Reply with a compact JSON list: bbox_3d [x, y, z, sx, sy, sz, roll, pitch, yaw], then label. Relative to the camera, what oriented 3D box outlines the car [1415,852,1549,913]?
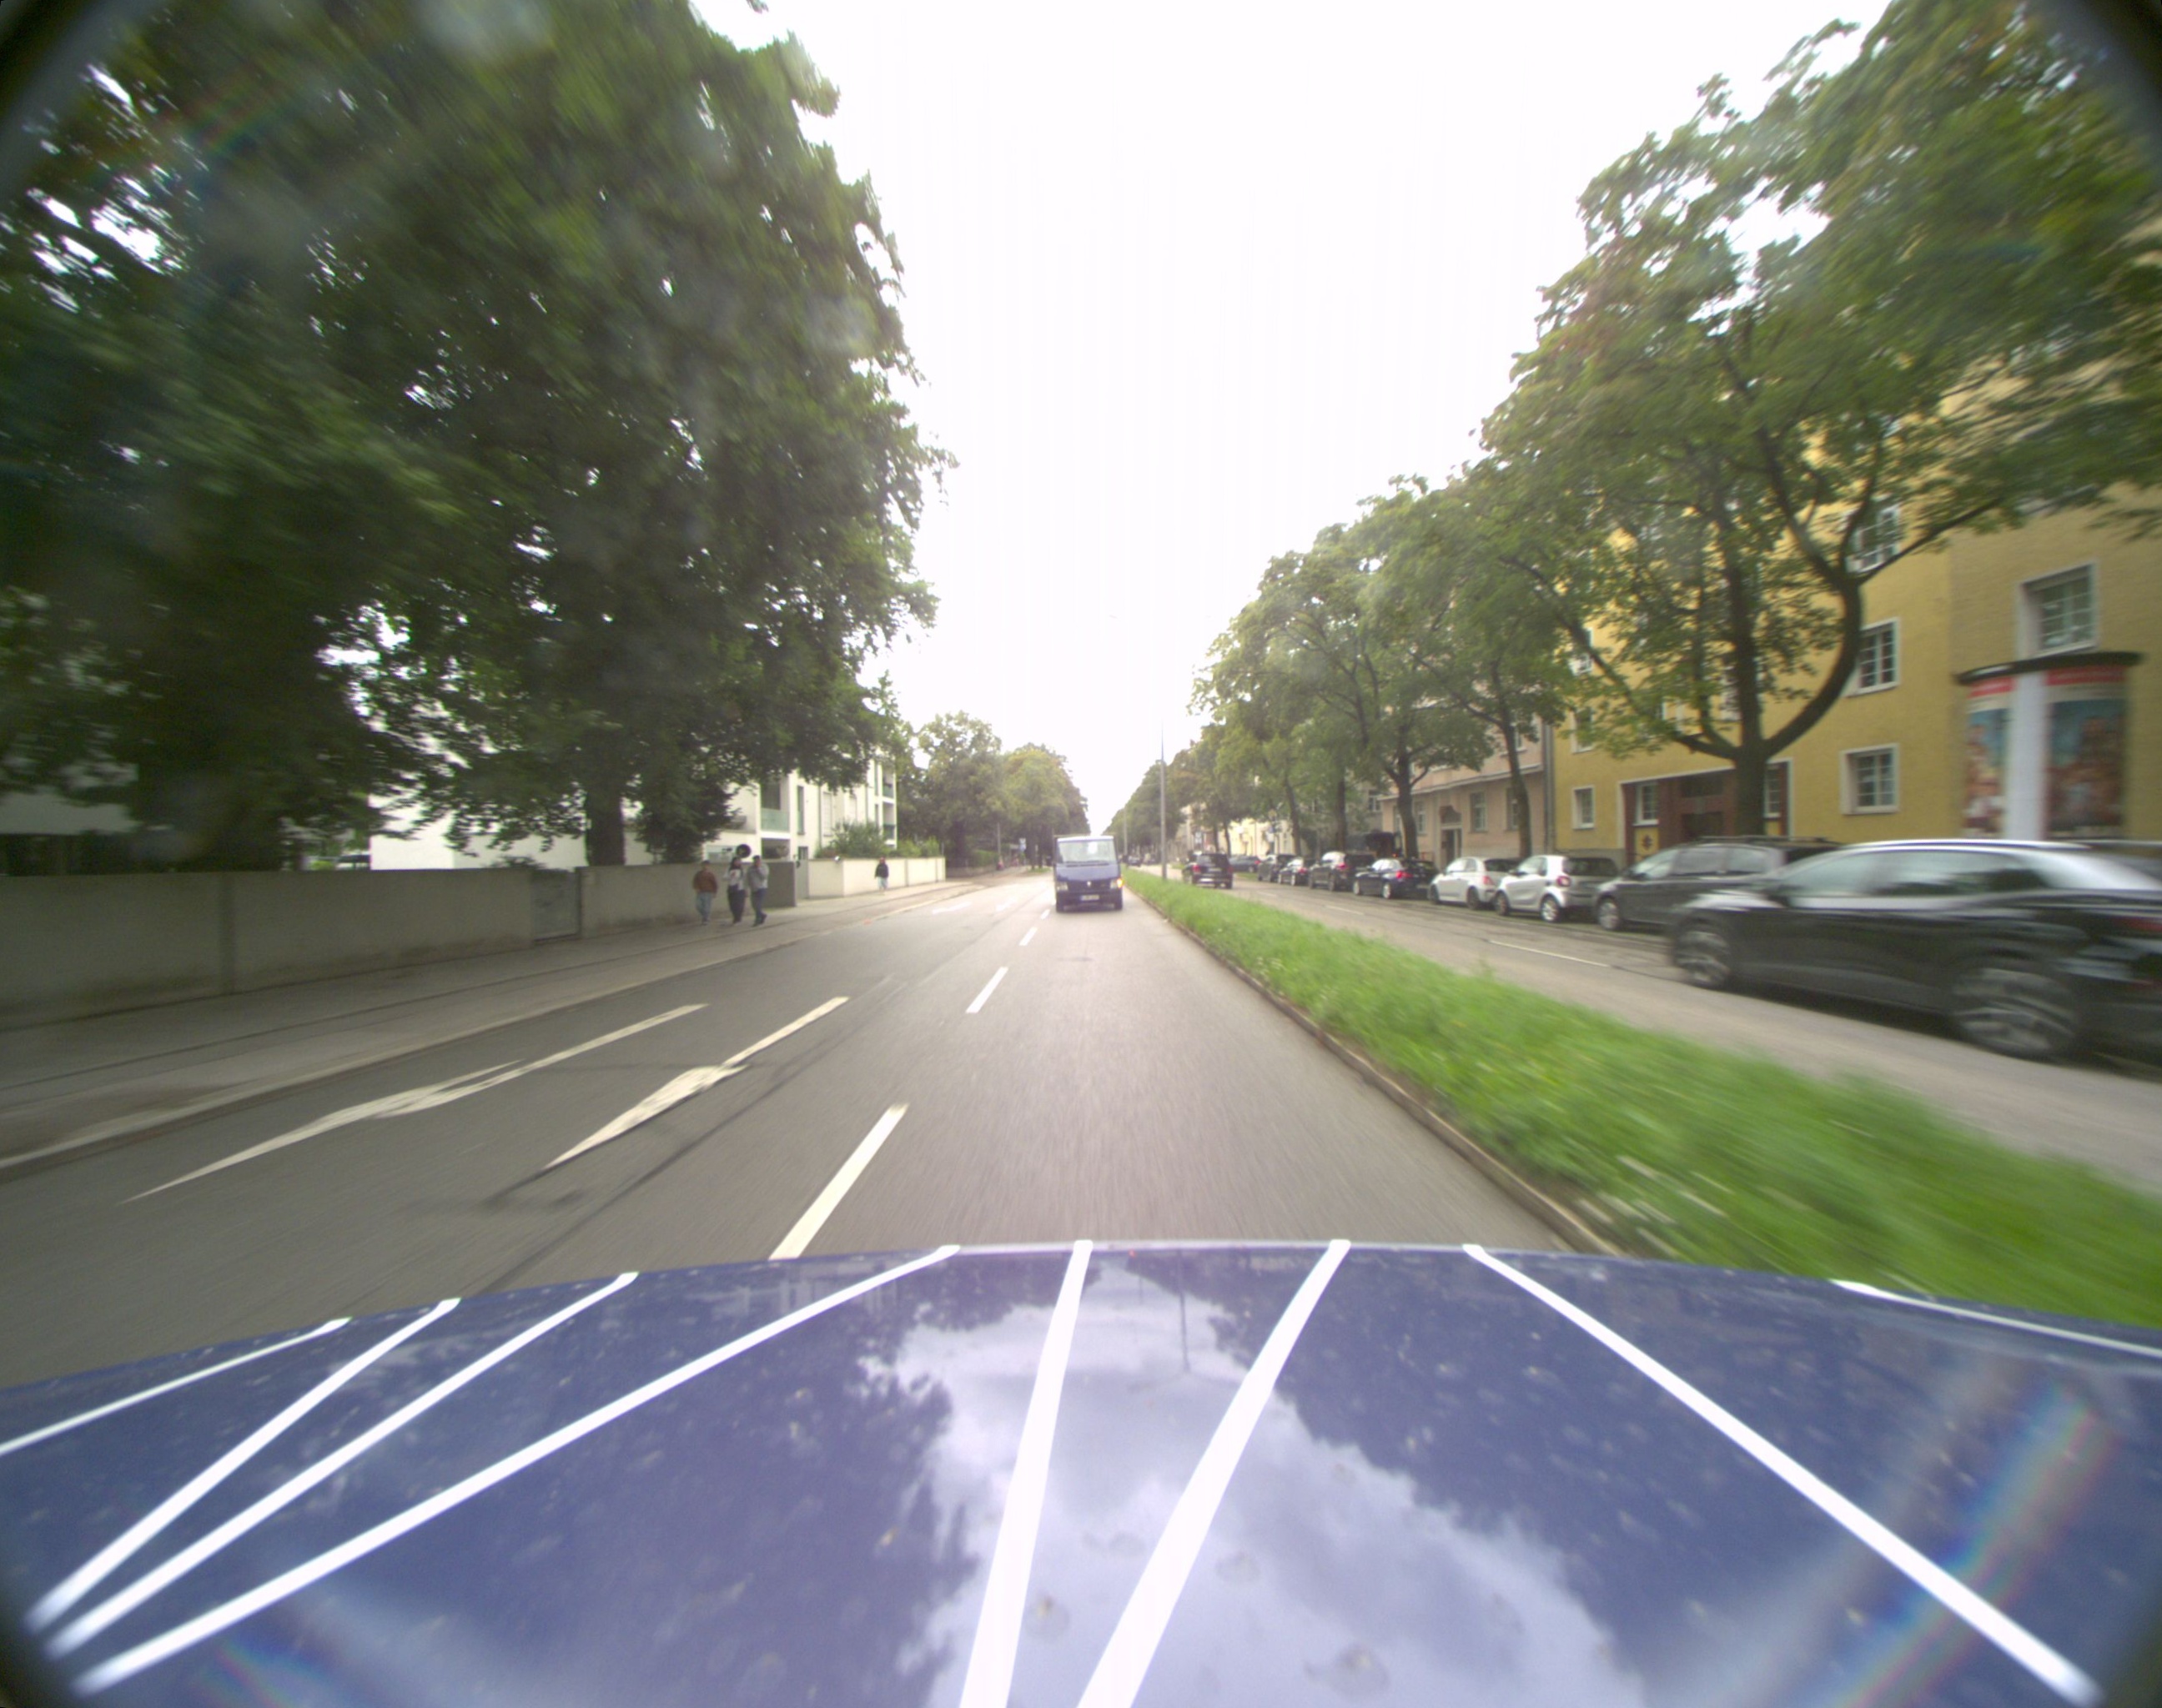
[{"bbox_3d":[11.317,0.738,21.770,1.731,1.552,4.057,-1,0,1],"label":"car"}]

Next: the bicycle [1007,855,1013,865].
[{"bbox_3d":[-8.569,0.711,91.716,0.490,1.092,1.631,-1,0,-9],"label":"bicycle"}]

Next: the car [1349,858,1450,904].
[{"bbox_3d":[10.933,0.863,26.443,1.731,1.398,4.363,-1,0,1],"label":"car"}]

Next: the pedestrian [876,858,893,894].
[{"bbox_3d":[-8.785,0.957,33.958,0.529,1.572,0.729,1,1,0],"label":"pedestrian"}]

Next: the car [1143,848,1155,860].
[{"bbox_3d":[12.006,-0.043,134.785,1.790,2.002,4.000,-1,0,1],"label":"car"}]

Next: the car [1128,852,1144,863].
[{"bbox_3d":[7.234,0.441,100.235,1.815,1.498,4.323,1,0,1],"label":"car"}]

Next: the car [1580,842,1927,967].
[{"bbox_3d":[11.035,0.707,13.081,1.815,1.718,4.767,-1,0,1],"label":"car"}]

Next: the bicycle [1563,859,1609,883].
[{"bbox_3d":[19.829,0.642,29.894,0.543,0.894,1.931,-1,0,1],"label":"bicycle"}]

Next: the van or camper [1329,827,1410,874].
[{"bbox_3d":[17.317,-0.191,46.056,2.351,2.564,6.851,-1,0,1],"label":"van or camper"}]

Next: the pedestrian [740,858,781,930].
[{"bbox_3d":[-7.818,0.955,18.568,0.668,1.712,0.729,1,1,0],"label":"pedestrian"}]

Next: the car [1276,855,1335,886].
[{"bbox_3d":[11.238,0.788,38.281,1.696,1.446,4.492,-1,0,1],"label":"car"}]

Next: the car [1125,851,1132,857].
[{"bbox_3d":[13.692,-0.023,219.743,1.872,1.827,4.000,-1,0,1],"label":"car"}]

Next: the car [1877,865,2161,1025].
[{"bbox_3d":[10.857,0.866,7.362,1.731,1.394,4.404,-1,0,1],"label":"car"}]

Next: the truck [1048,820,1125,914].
[{"bbox_3d":[0.203,0.335,22.935,1.998,2.475,5.151,-1,0,1],"label":"truck"}]

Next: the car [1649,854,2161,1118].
[{"bbox_3d":[7.489,0.811,6.480,1.880,1.575,4.620,1,0,1],"label":"car"}]

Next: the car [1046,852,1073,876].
[{"bbox_3d":[-1.407,0.636,51.006,1.647,1.553,3.586,-1,0,0],"label":"car"}]

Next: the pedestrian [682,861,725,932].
[{"bbox_3d":[-9.211,1.023,18.550,0.668,1.695,0.766,1,1,0],"label":"pedestrian"}]

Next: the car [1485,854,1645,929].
[{"bbox_3d":[11.034,0.796,17.569,1.731,1.549,3.009,-1,0,-1],"label":"car"}]

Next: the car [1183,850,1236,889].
[{"bbox_3d":[5.847,0.662,35.039,1.774,1.669,4.369,0,0,1],"label":"car"}]

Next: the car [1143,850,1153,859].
[{"bbox_3d":[13.598,0.102,154.429,1.872,1.827,4.000,-1,0,1],"label":"car"}]

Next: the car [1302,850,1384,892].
[{"bbox_3d":[11.024,0.664,32.292,1.883,1.636,4.770,-1,0,1],"label":"car"}]

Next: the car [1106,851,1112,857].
[{"bbox_3d":[8.549,-0.129,230.636,1.814,1.761,4.000,-1,0,1],"label":"car"}]

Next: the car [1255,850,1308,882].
[{"bbox_3d":[11.404,0.627,43.456,1.878,1.677,4.438,-1,0,1],"label":"car"}]

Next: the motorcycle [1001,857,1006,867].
[{"bbox_3d":[-8.606,0.896,84.189,0.497,1.135,1.631,-1,0,-9],"label":"motorcycle"}]

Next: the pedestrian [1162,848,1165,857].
[{"bbox_3d":[17.939,-0.358,165.034,0.641,2.031,0.738,-1,1,12],"label":"pedestrian"}]

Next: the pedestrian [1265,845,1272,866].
[{"bbox_3d":[18.779,0.151,76.057,0.599,2.048,0.685,-1,1,20],"label":"pedestrian"}]

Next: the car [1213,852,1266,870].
[{"bbox_3d":[13.063,0.586,62.646,3.991,1.367,1.865,-2,-1,22],"label":"car"}]

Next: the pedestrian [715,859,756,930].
[{"bbox_3d":[-8.426,0.975,18.556,0.668,1.683,0.729,1,1,0],"label":"pedestrian"}]
